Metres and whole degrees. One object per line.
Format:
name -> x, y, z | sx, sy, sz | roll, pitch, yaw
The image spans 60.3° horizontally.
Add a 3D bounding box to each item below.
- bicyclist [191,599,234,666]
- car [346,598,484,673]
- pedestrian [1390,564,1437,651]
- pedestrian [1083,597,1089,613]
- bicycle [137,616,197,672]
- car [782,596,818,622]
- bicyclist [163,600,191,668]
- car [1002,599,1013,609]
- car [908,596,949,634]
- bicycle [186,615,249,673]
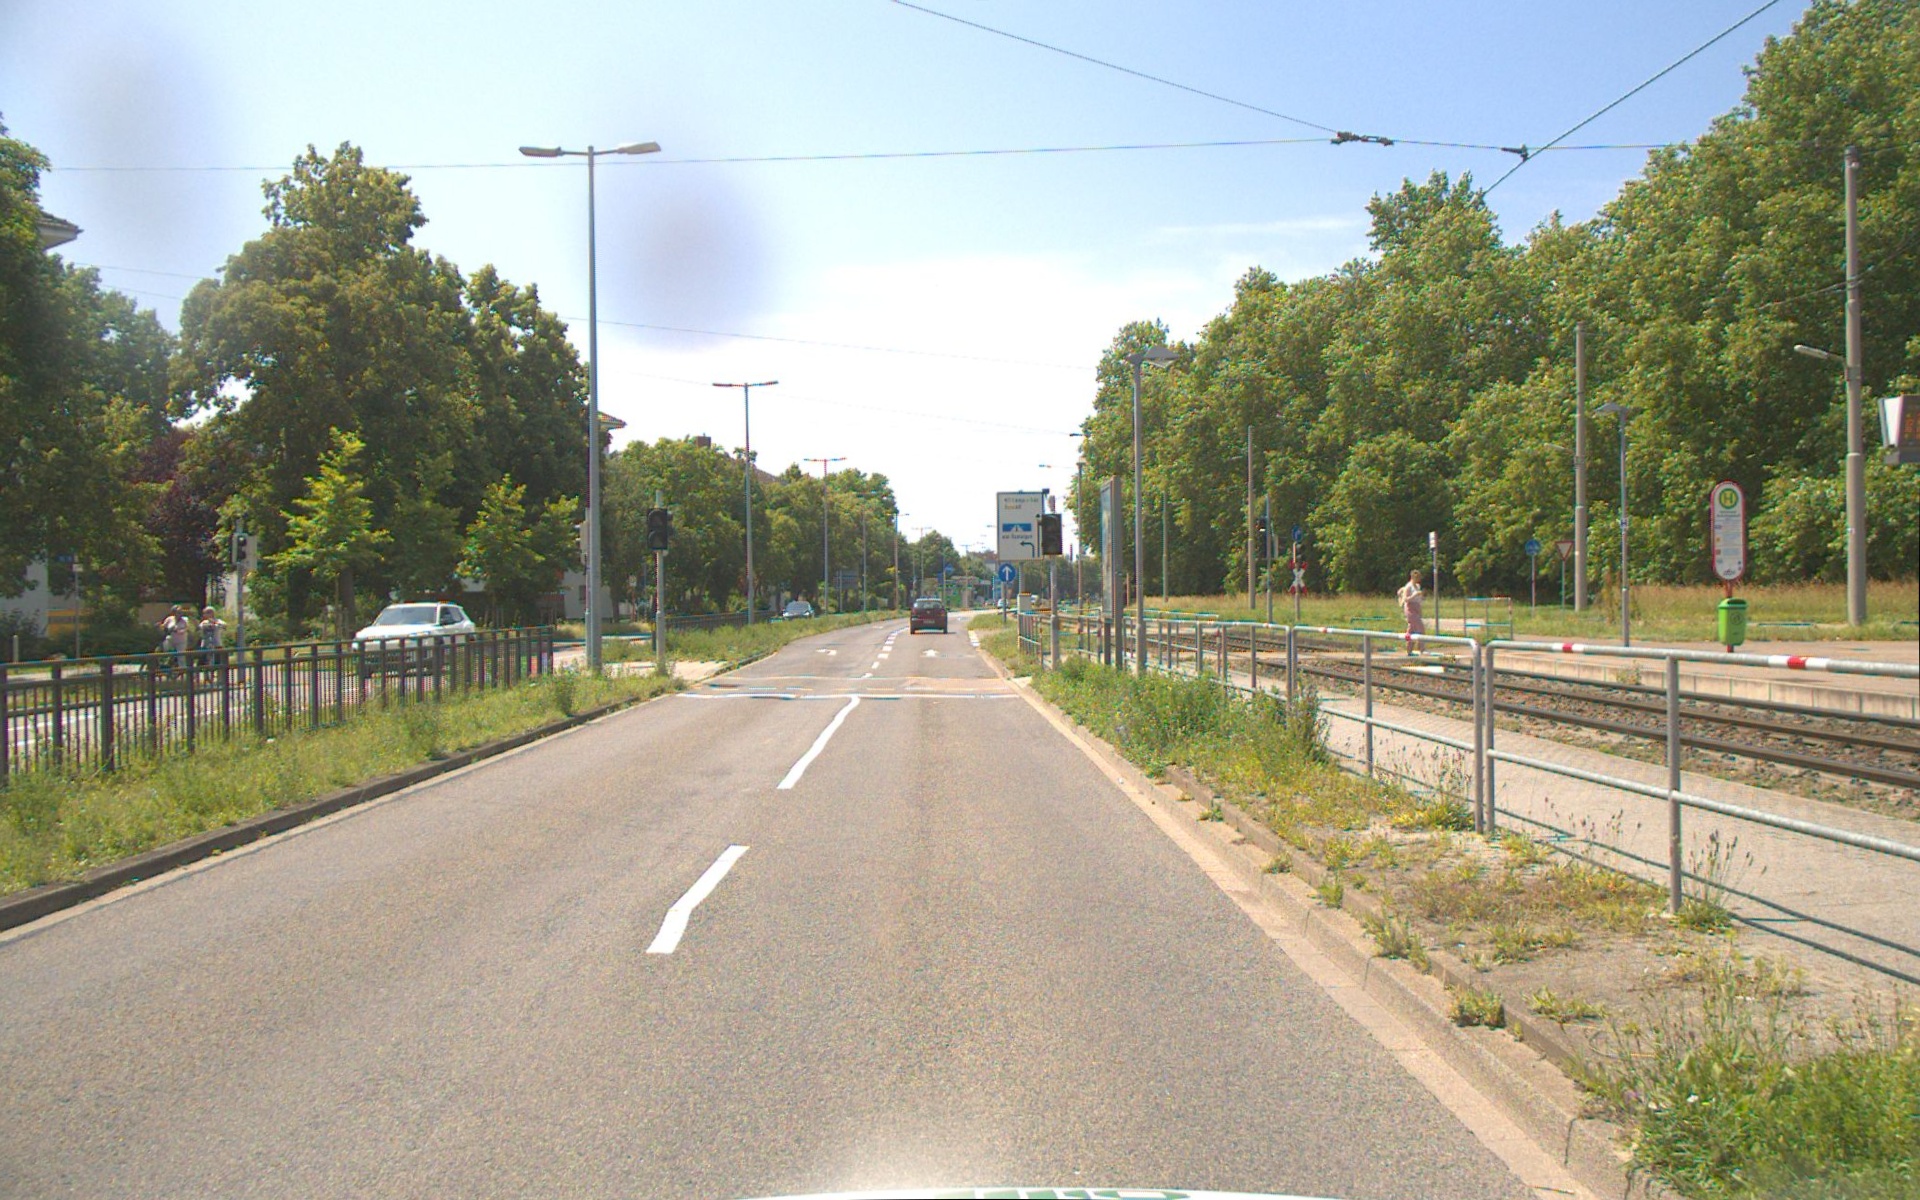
bicyclist -> -15.506, 0.672, 34.319 | 0.534, 1.369, 0.755 | -1, 0, -2
car -> -12.598, 0.776, 38.498 | 1.784, 1.600, 4.346 | -2, 0, -1
pedestrian -> 9.449, 0.171, 34.486 | 0.624, 1.790, 0.813 | 1, -1, -14
pedestrian -> 13.600, 0.508, 178.542 | 0.647, 1.756, 0.817 | -1, 0, 5
bicycle -> -16.342, 0.899, 34.101 | 0.542, 1.114, 1.379 | 0, -1, 0
car -> -10.003, 0.527, 103.398 | 1.720, 1.570, 4.162 | -1, 0, 1
bicyclist -> -16.315, 0.701, 34.476 | 0.350, 1.416, 0.440 | 0, 0, 2
car -> 7.197, 0.634, 252.306 | 1.667, 1.506, 3.717 | 1, -1, 1
car -> -1.331, 0.637, 70.749 | 1.668, 1.503, 3.716 | -1, 0, 0
bicycle -> -15.510, 0.914, 34.564 | 0.576, 1.153, 1.615 | -1, 0, -1
